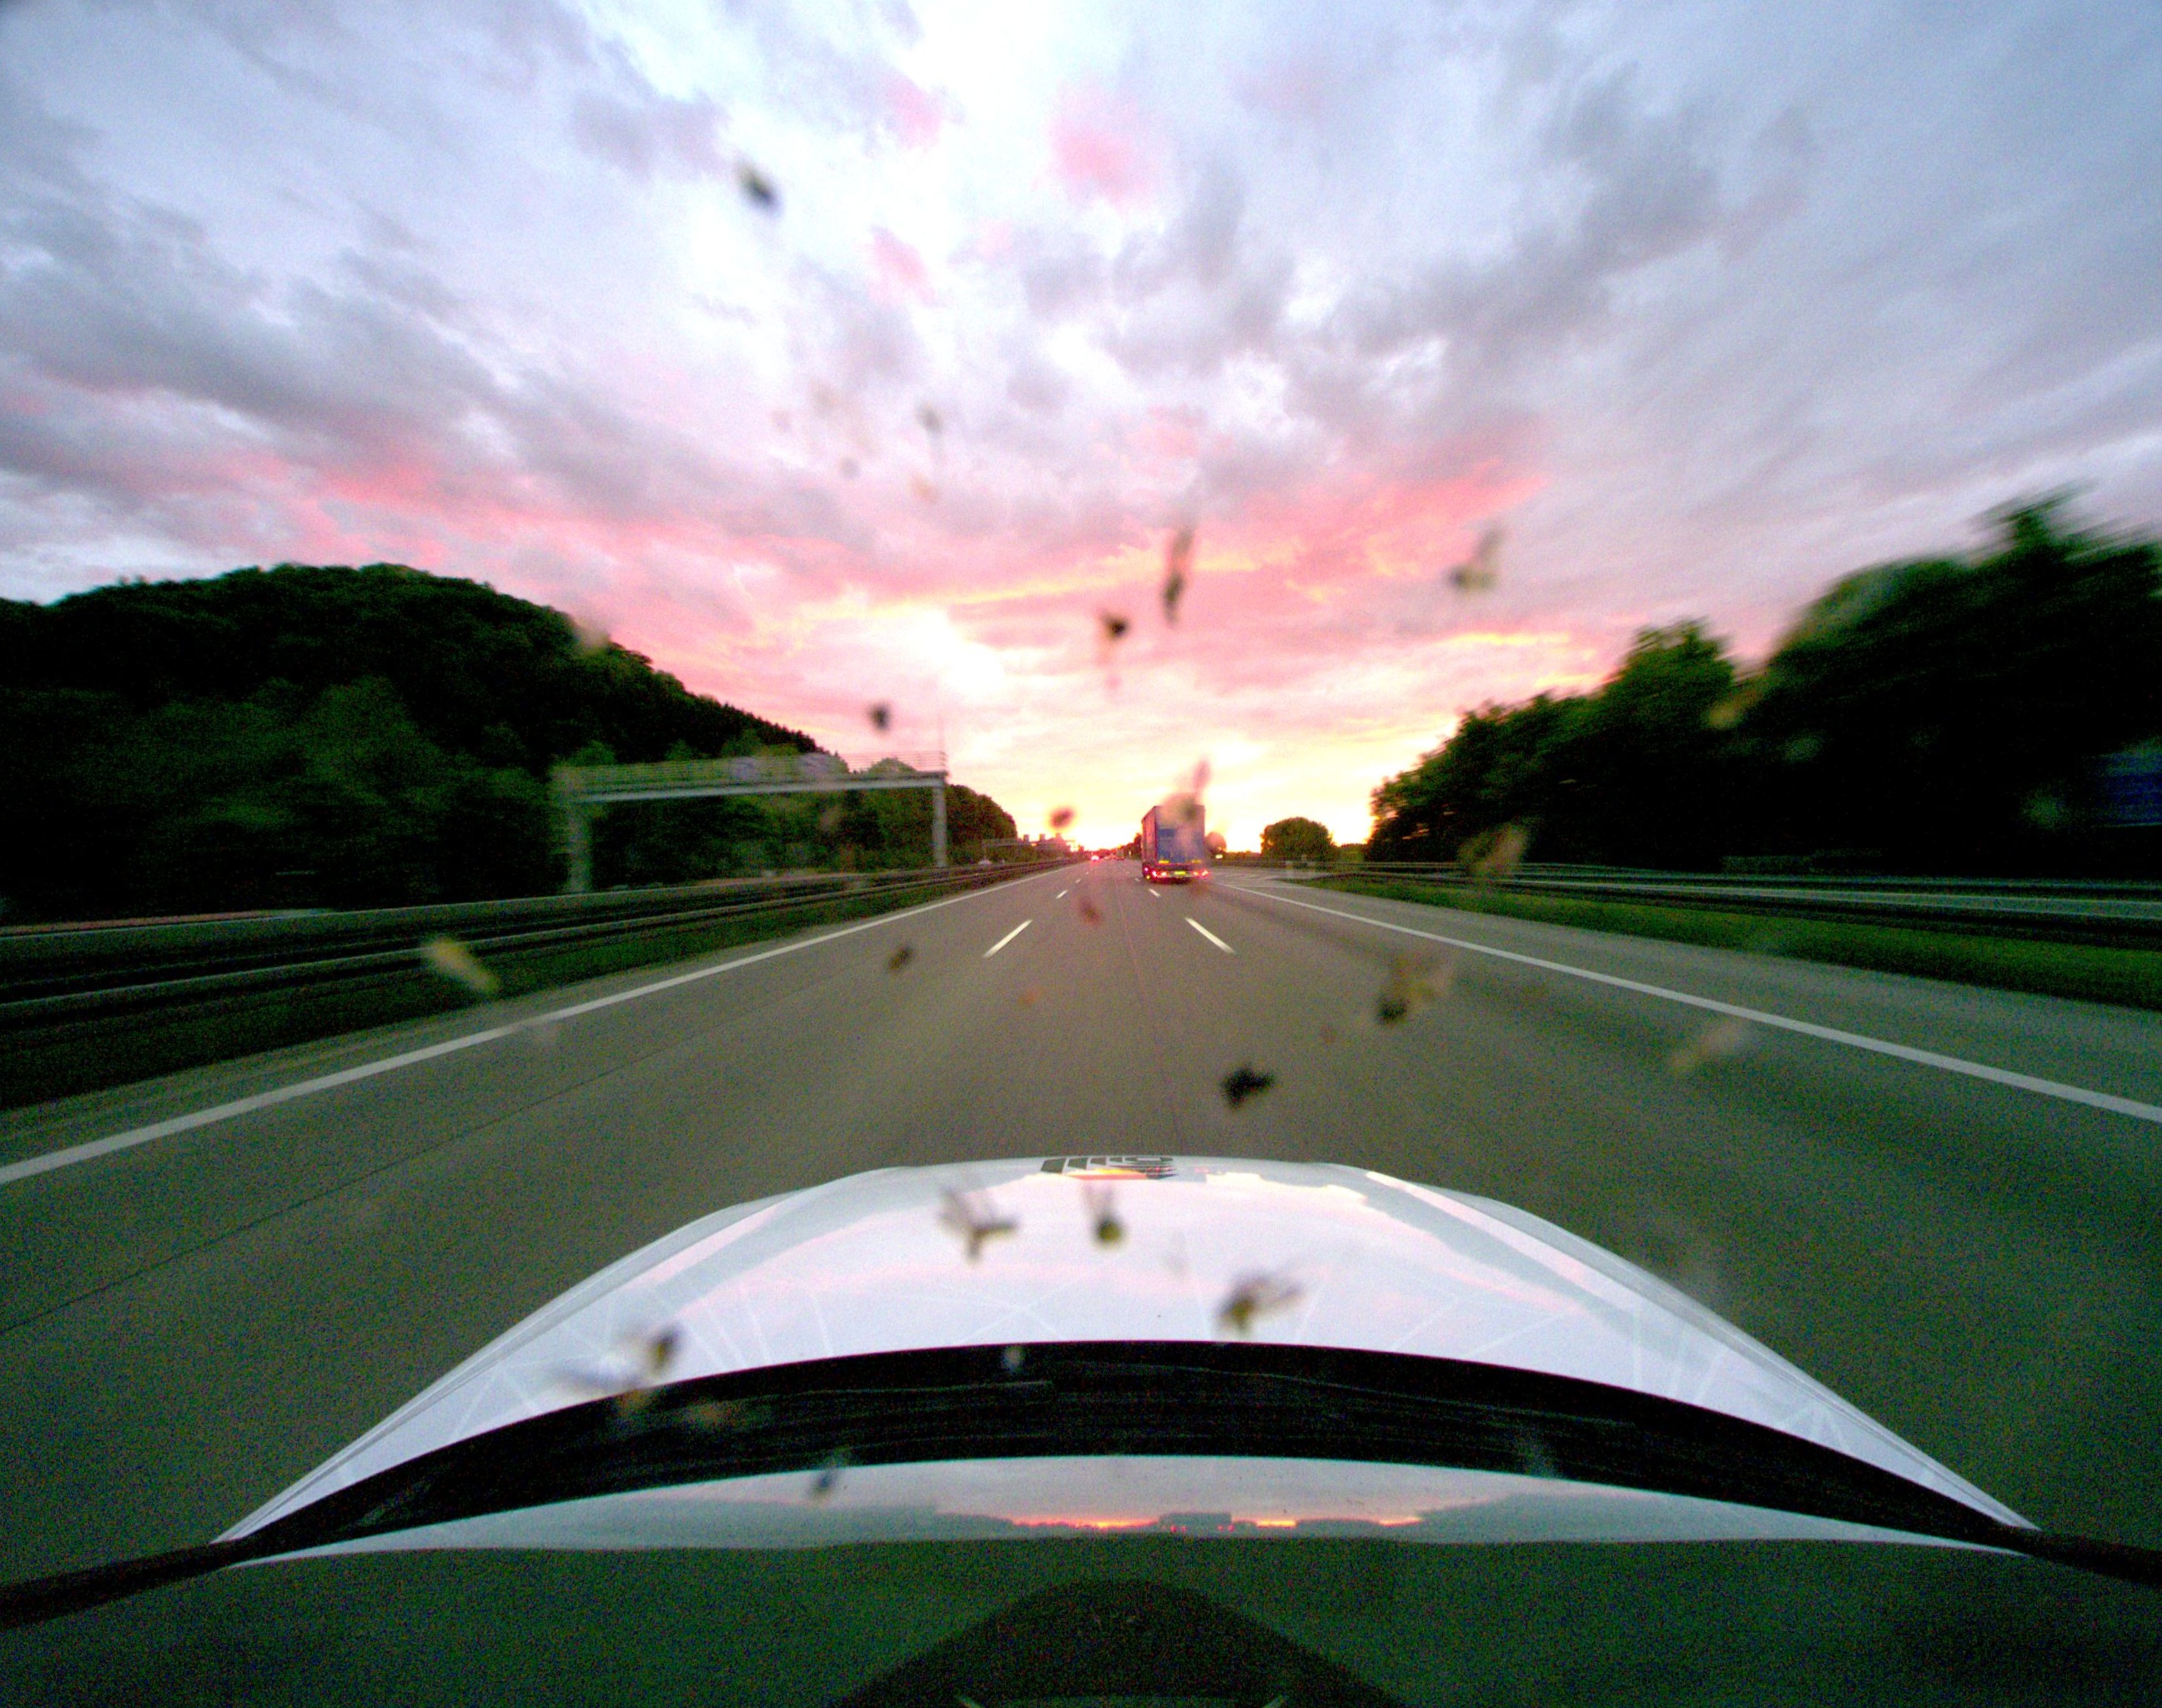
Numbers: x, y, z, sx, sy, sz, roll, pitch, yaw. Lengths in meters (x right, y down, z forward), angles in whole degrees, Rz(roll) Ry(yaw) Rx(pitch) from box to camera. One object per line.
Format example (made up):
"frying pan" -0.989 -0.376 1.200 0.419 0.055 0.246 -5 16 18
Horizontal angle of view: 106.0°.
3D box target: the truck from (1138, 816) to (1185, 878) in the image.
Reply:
"truck" 5.399 -0.427 55.406 2.726 3.996 5.851 -1 0 2

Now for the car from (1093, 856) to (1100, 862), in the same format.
"car" 4.740 1.594 252.516 2.006 1.749 3.904 -5 0 1

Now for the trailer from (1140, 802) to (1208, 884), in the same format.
"trailer" 5.200 -0.508 48.109 2.761 4.086 13.743 -1 0 1
